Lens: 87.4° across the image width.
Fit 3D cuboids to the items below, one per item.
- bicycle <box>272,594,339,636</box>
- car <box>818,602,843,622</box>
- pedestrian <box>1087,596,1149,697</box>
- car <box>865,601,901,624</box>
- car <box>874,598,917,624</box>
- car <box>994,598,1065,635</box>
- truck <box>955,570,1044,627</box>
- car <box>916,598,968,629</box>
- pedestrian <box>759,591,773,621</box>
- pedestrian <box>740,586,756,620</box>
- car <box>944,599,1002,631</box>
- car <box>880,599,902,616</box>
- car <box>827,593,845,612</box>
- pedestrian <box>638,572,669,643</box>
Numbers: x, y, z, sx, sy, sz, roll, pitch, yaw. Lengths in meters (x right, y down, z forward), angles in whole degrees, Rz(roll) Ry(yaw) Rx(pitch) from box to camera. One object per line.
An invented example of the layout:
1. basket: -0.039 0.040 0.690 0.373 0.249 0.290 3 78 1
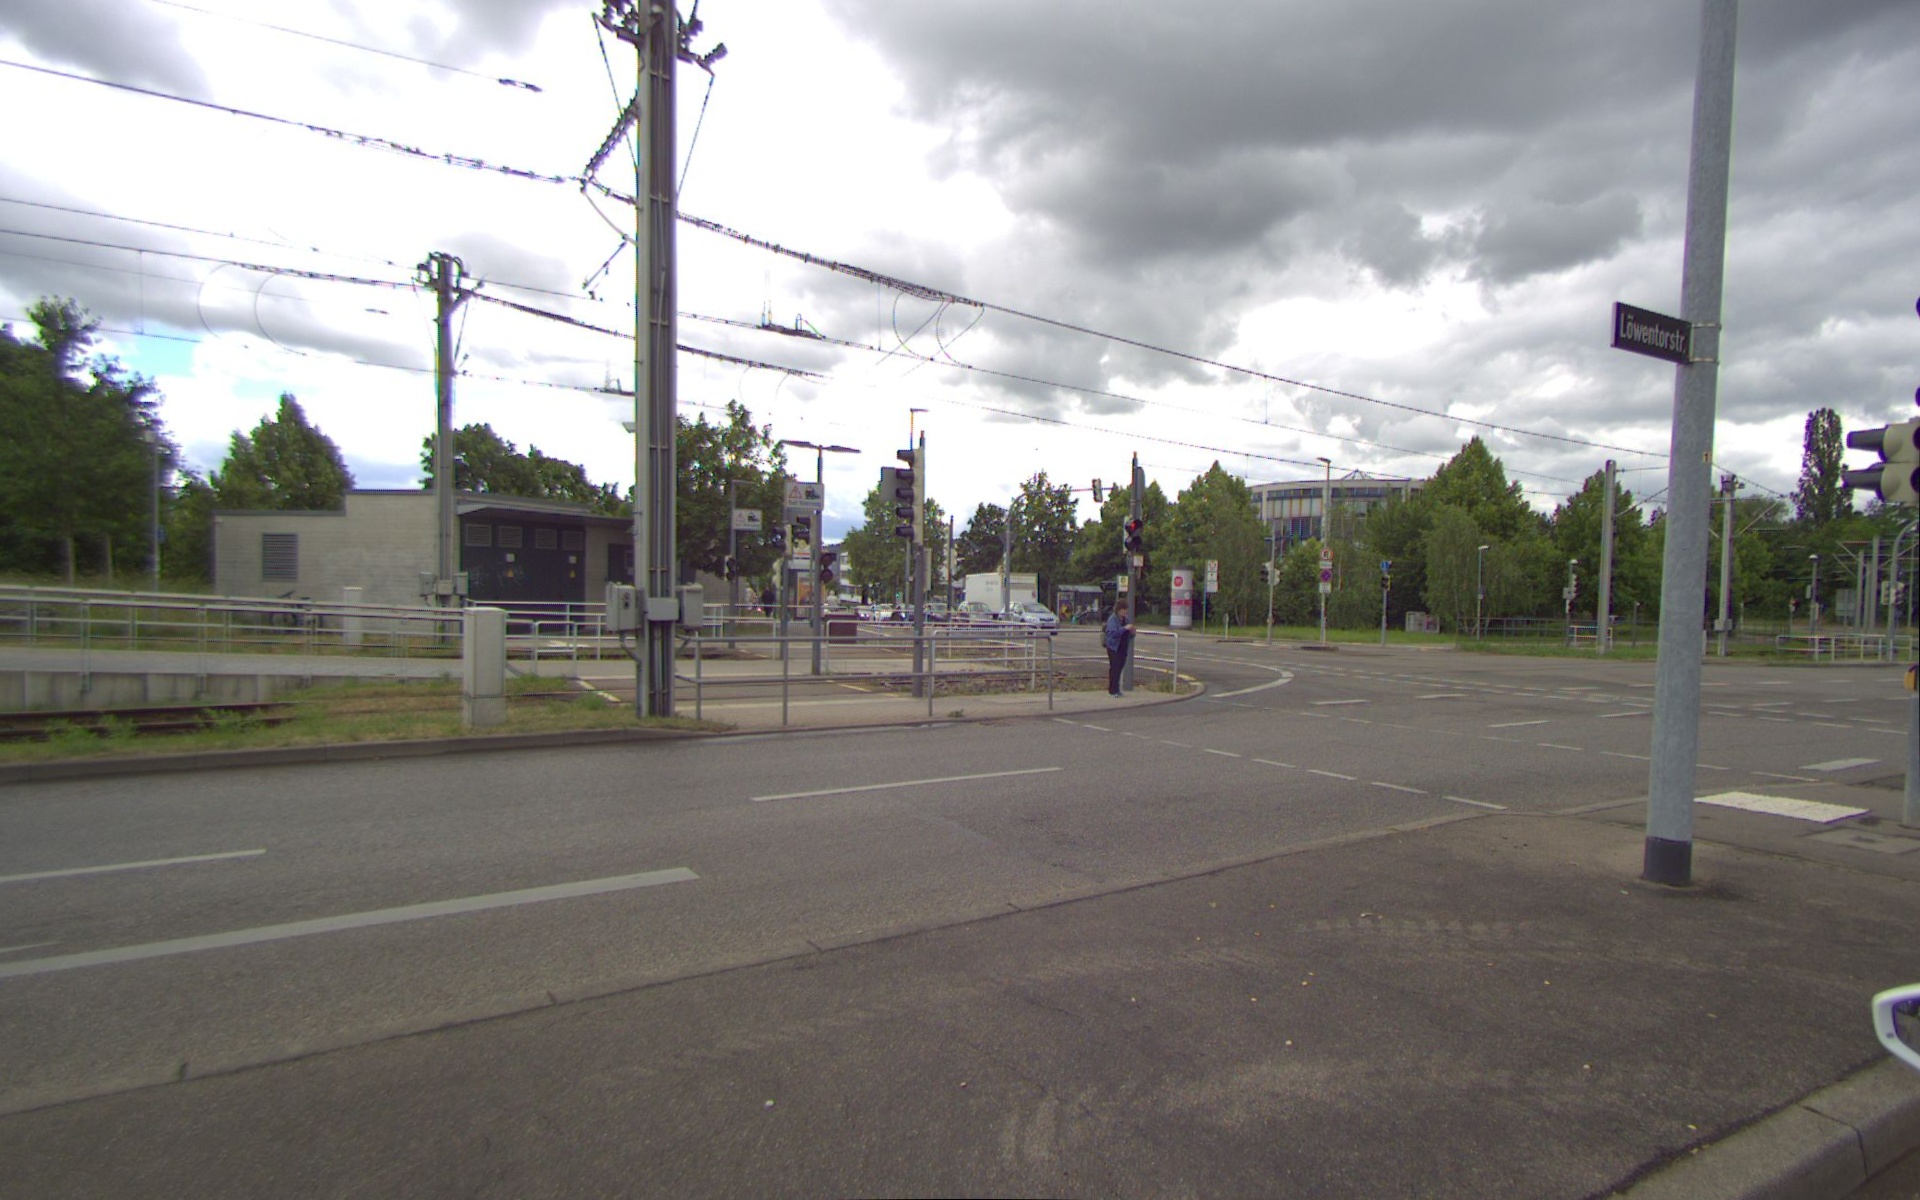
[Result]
1. bicycle: -17.381 0.390 26.674 1.778 1.045 0.536 2 0 21
2. car: -12.534 1.135 97.235 1.869 1.805 3.988 1 0 -14
3. pedestrian: 2.515 0.729 16.010 0.712 1.557 0.630 2 0 -33
4. car: -5.774 0.922 74.894 1.775 1.617 3.985 2 0 -17
5. car: -4.287 0.698 66.041 1.776 1.617 3.982 2 0 -20
6. car: 3.190 0.731 46.895 1.848 1.617 3.982 2 0 -20
7. truck: 2.552 -0.119 69.424 2.970 3.580 9.242 1 0 -19
8. car: -1.072 0.758 58.035 1.776 1.617 3.982 2 0 -20
9. pedestrian: -9.003 0.273 46.595 0.592 1.377 0.615 2 0 -11
10. pedestrian: -9.796 0.127 46.430 0.633 1.557 0.521 2 0 -2
11. car: 0.659 0.791 53.861 1.776 1.617 3.982 2 0 -20
12. car: -7.304 0.768 105.704 2.009 1.617 3.995 2 0 -7
13. car: -14.630 0.285 118.103 1.964 2.218 5.800 1 0 -9
14. pedestrian: -7.797 0.192 25.528 0.700 1.751 0.674 2 0 -19
